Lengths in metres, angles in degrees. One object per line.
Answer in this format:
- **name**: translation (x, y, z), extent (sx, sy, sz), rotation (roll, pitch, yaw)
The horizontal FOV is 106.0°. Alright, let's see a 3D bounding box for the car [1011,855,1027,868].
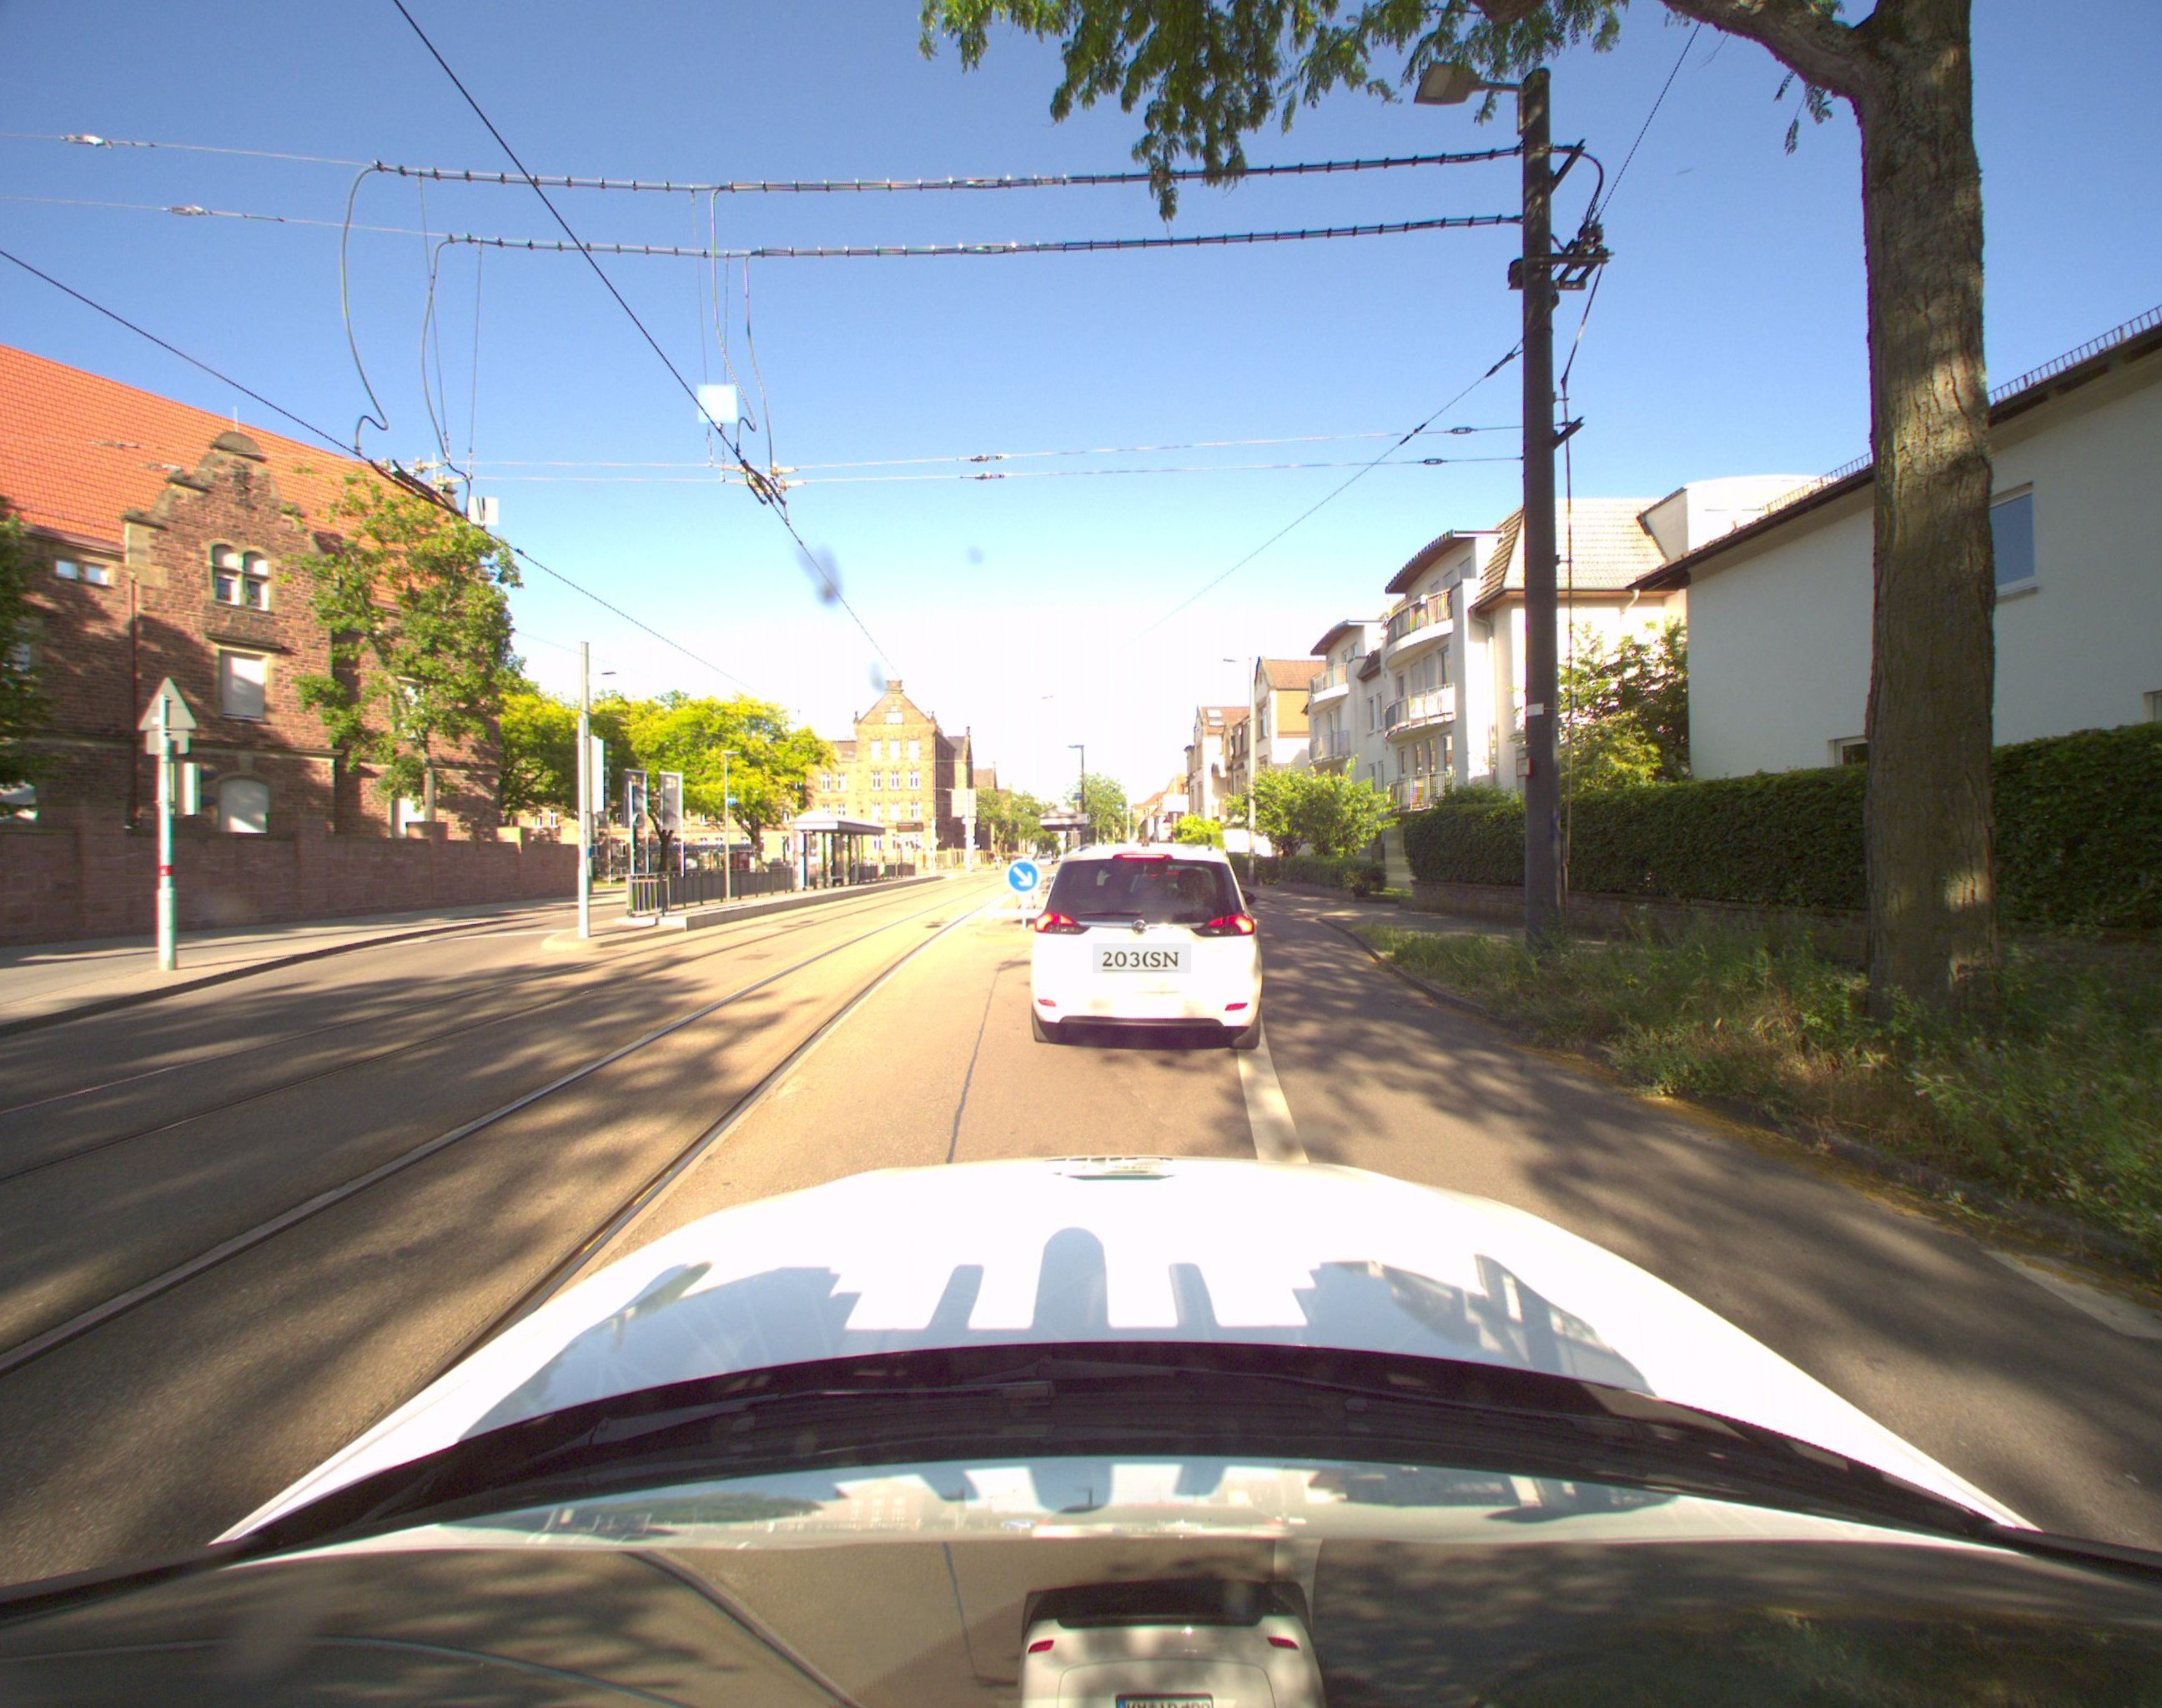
- **car**: translation (-8.180, 0.920, 107.483), extent (1.989, 1.629, 3.996), rotation (-1, 0, -3)

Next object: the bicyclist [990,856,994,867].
- **bicyclist**: translation (-12.437, 1.038, 113.765), extent (0.443, 1.553, 0.495), rotation (-1, 0, -2)

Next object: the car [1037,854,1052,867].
- **car**: translation (-4.804, 0.889, 107.625), extent (1.989, 1.629, 3.996), rotation (-1, 0, -3)

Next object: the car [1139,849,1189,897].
- **car**: translation (2.945, 0.633, 29.322), extent (1.630, 1.601, 3.859), rotation (-1, 0, 4)

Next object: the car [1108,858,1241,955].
- **car**: translation (1.531, 0.788, 14.067), extent (1.944, 1.397, 4.005), rotation (-1, 0, 4)

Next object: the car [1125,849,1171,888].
- **car**: translation (2.932, 0.609, 36.252), extent (1.824, 1.579, 4.012), rotation (-1, 0, 2)

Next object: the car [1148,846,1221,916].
- **car**: translation (2.573, 0.636, 20.896), extent (1.630, 1.601, 3.859), rotation (-1, 0, 4)

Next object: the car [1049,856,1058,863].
- **car**: translation (-6.484, 1.238, 188.987), extent (1.989, 1.629, 3.984), rotation (-1, 0, -3)

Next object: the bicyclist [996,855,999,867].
- **bicyclist**: translation (-10.968, 0.974, 107.028), extent (0.443, 1.553, 0.495), rotation (-1, 0, -2)

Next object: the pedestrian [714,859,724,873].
- **pedestrian**: translation (-39.234, 1.304, 88.284), extent (0.936, 1.588, 0.798), rotation (-1, 0, -25)

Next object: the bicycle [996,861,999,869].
- **bicycle**: translation (-10.992, 1.441, 107.069), extent (0.343, 0.950, 0.996), rotation (0, -1, -1)

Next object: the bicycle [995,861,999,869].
- **bicycle**: translation (-10.704, 1.410, 103.527), extent (0.343, 0.950, 1.160), rotation (0, -1, -1)

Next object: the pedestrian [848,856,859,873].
- **pedestrian**: translation (-21.289, 0.952, 76.184), extent (0.799, 1.588, 0.934), rotation (0, -1, 0)

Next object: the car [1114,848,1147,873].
- **car**: translation (3.106, 0.383, 51.845), extent (1.986, 1.503, 4.002), rotation (-1, 0, 2)

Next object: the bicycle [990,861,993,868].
- **bicycle**: translation (-12.666, 1.522, 115.640), extent (0.343, 0.950, 0.996), rotation (0, -1, -1)

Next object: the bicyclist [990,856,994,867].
- **bicyclist**: translation (-12.672, 1.054, 115.606), extent (0.443, 1.553, 0.495), rotation (-1, 0, -2)

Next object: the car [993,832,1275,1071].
- **car**: translation (0.642, 0.681, 7.706), extent (1.982, 1.644, 4.003), rotation (0, 0, 8)

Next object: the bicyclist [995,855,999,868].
- **bicyclist**: translation (-10.696, 0.944, 103.738), extent (0.443, 1.553, 0.742), rotation (-1, 0, -2)

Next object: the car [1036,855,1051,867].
- **car**: translation (-5.284, 0.950, 114.747), extent (1.989, 1.629, 3.996), rotation (-1, 0, -3)

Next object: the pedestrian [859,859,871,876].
- **pedestrian**: translation (-19.565, 1.217, 73.704), extent (0.799, 1.588, 0.934), rotation (0, -1, 0)

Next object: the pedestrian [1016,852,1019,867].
- **pedestrian**: translation (-8.757, 0.771, 112.390), extent (0.443, 2.013, 0.495), rotation (-1, 0, -2)

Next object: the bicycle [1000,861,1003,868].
- **bicycle**: translation (-10.650, 1.459, 109.612), extent (0.343, 0.950, 0.996), rotation (0, -1, -1)

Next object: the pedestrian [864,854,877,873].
- **pedestrian**: translation (-18.604, 0.852, 72.020), extent (0.892, 1.684, 1.029), rotation (0, -1, 1)

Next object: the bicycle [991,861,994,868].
- **bicycle**: translation (-12.409, 1.505, 113.803), extent (0.343, 0.950, 0.996), rotation (0, -1, -1)

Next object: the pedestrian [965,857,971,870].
- **pedestrian**: translation (-15.062, 1.291, 108.787), extent (0.733, 1.714, 0.705), rotation (0, -1, -4)

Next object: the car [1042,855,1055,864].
- **car**: translation (-5.605, 0.928, 141.017), extent (1.987, 1.629, 4.000), rotation (-1, 0, 0)

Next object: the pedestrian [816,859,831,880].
- **pedestrian**: translation (-20.990, 1.258, 66.370), extent (0.839, 1.691, 1.029), rotation (0, -1, 1)

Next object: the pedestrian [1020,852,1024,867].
- **pedestrian**: translation (-8.154, 0.769, 112.649), extent (0.443, 2.013, 0.495), rotation (-1, 0, -2)

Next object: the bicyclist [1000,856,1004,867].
- **bicyclist**: translation (-10.651, 0.992, 109.607), extent (0.443, 1.553, 0.495), rotation (-1, 0, -2)
